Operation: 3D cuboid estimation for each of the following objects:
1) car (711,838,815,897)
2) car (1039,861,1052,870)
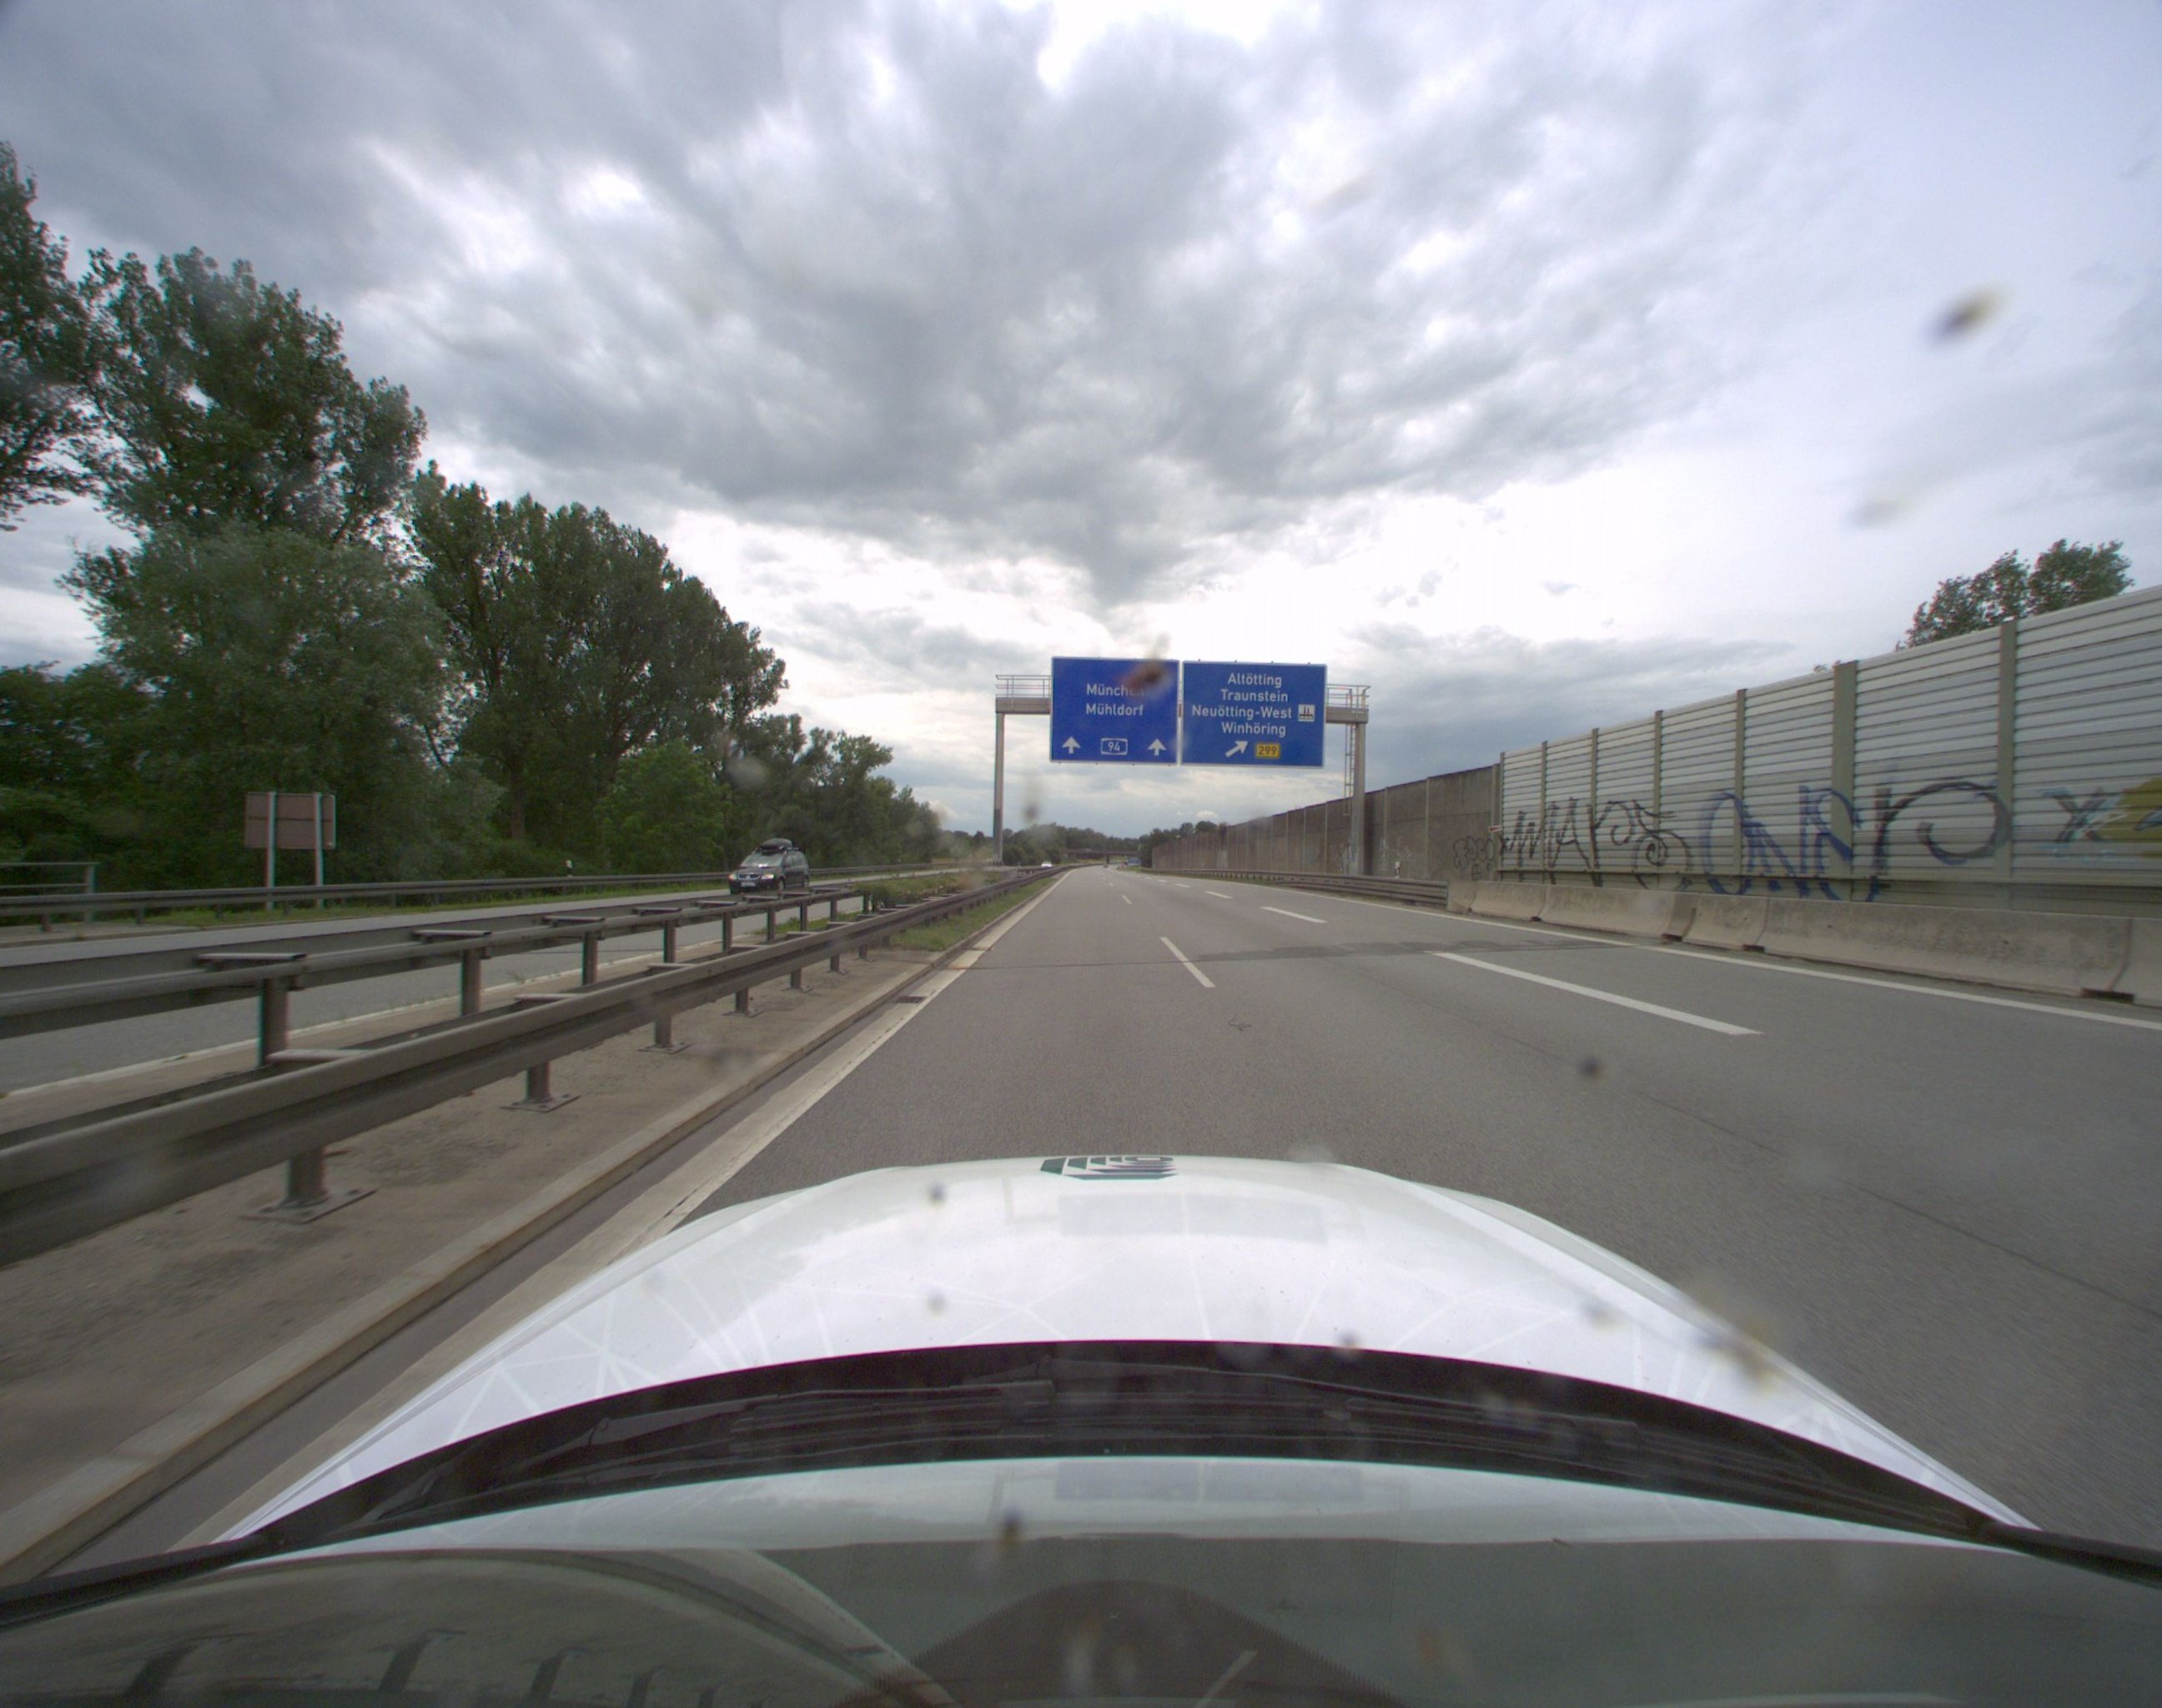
[{"bbox_3d":[-11.616,0.474,30.104,1.987,2.002,4.742,0,-1,-1],"label":"car"},{"bbox_3d":[-6.338,2.090,147.623,1.986,1.615,5.029,0,-1,1],"label":"car"}]
